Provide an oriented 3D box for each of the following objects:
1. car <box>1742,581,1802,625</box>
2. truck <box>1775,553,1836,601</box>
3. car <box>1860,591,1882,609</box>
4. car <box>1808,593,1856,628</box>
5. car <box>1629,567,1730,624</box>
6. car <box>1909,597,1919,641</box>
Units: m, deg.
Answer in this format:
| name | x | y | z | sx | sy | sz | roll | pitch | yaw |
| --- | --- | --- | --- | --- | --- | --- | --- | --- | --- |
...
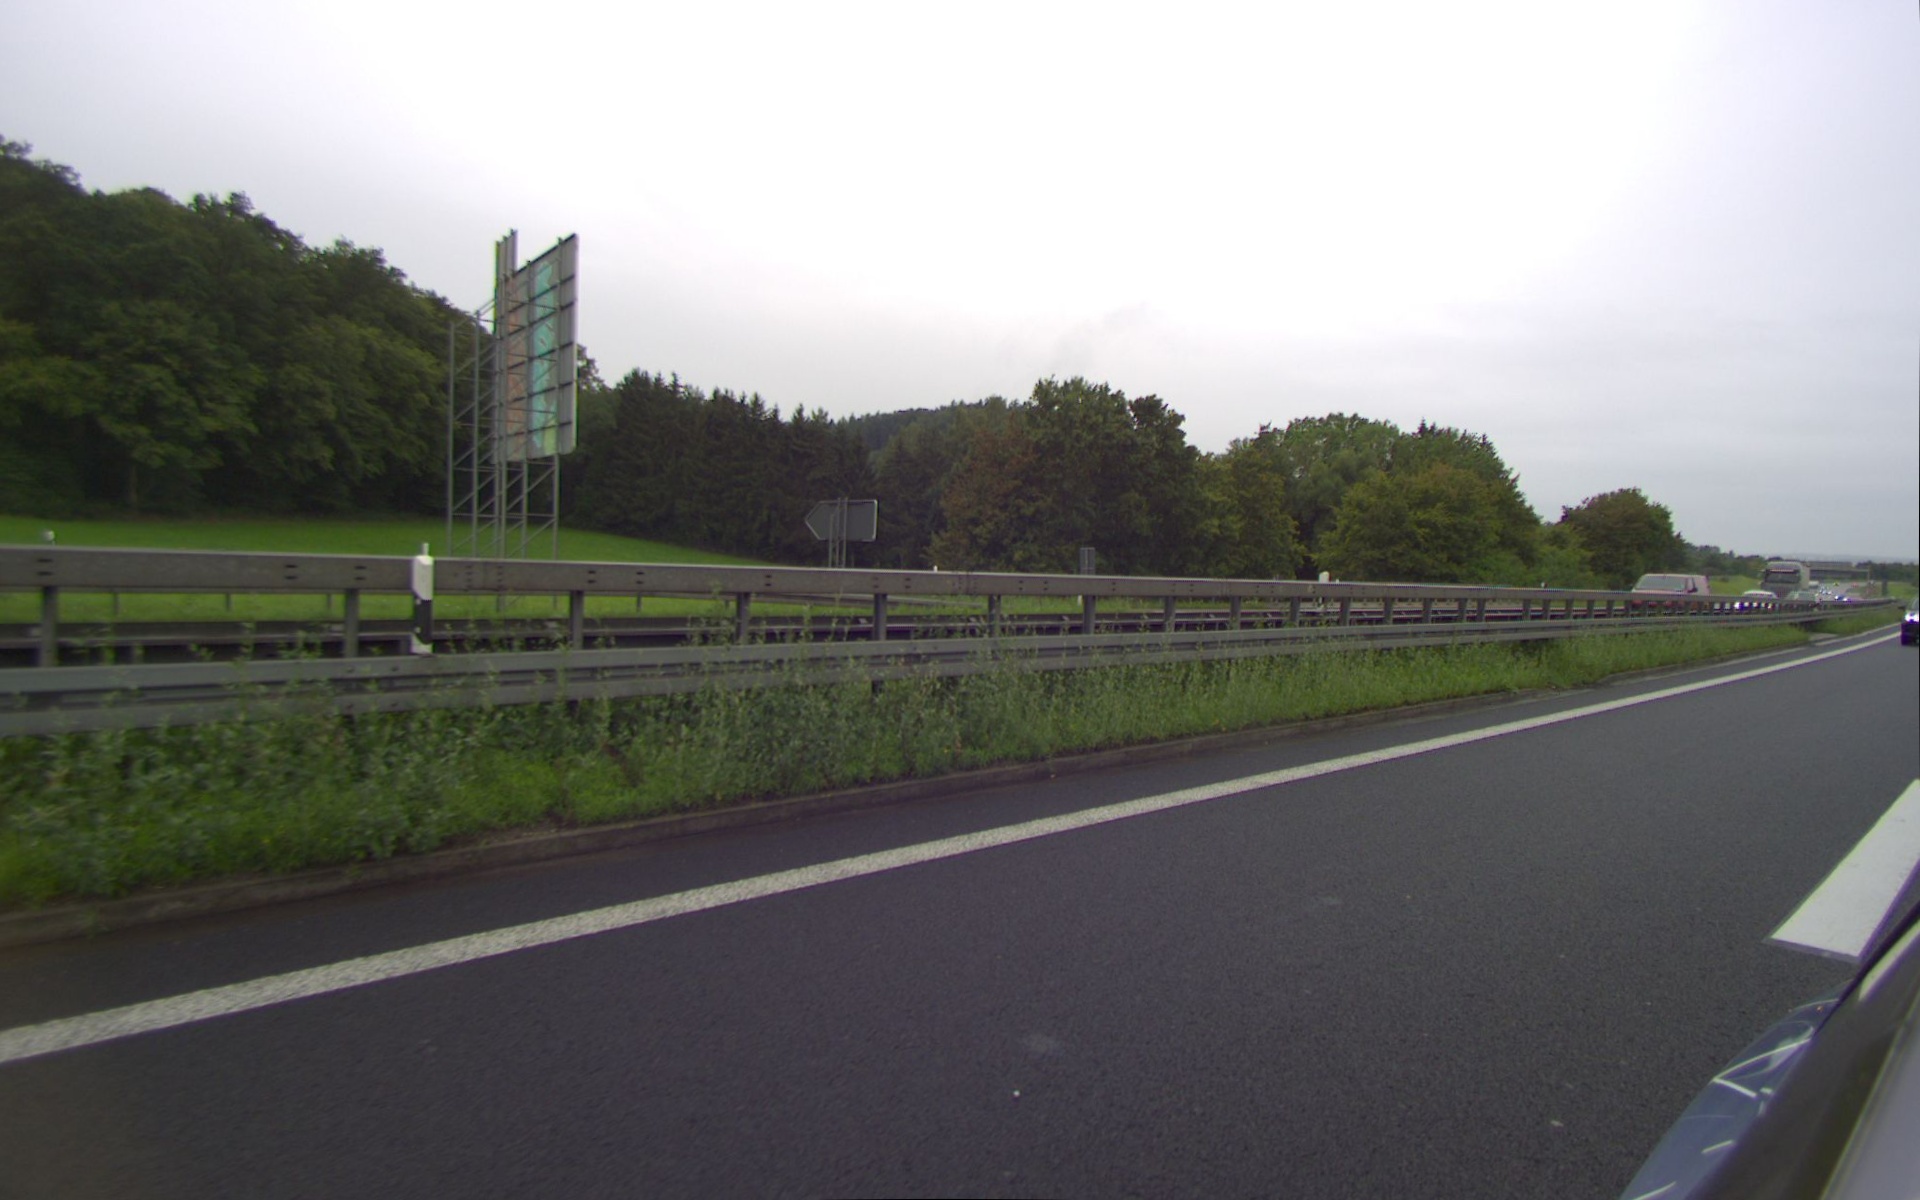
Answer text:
| name | x | y | z | sx | sy | sz | roll | pitch | yaw |
| --- | --- | --- | --- | --- | --- | --- | --- | --- | --- |
| car | 40.535 | 0.097 | 50.498 | 4.424 | 2.038 | 1.749 | -1 | 2 | -44 |
| truck | 74.659 | -2.037 | 89.273 | 9.861 | 3.948 | 2.795 | -1 | 3 | -43 |
| car | 108.411 | -0.031 | 120.372 | 1.748 | 2.038 | 4.427 | 2 | 2 | 44 |
| car | 54.388 | 0.592 | 63.130 | 4.422 | 2.038 | 1.750 | -1 | 2 | -43 |
| car | 27.669 | -0.216 | 38.837 | 4.991 | 2.038 | 2.127 | -1 | 2 | -42 |
| car | 32.637 | 0.614 | 33.134 | 4.488 | 1.373 | 1.865 | -1 | 2 | -42 |
